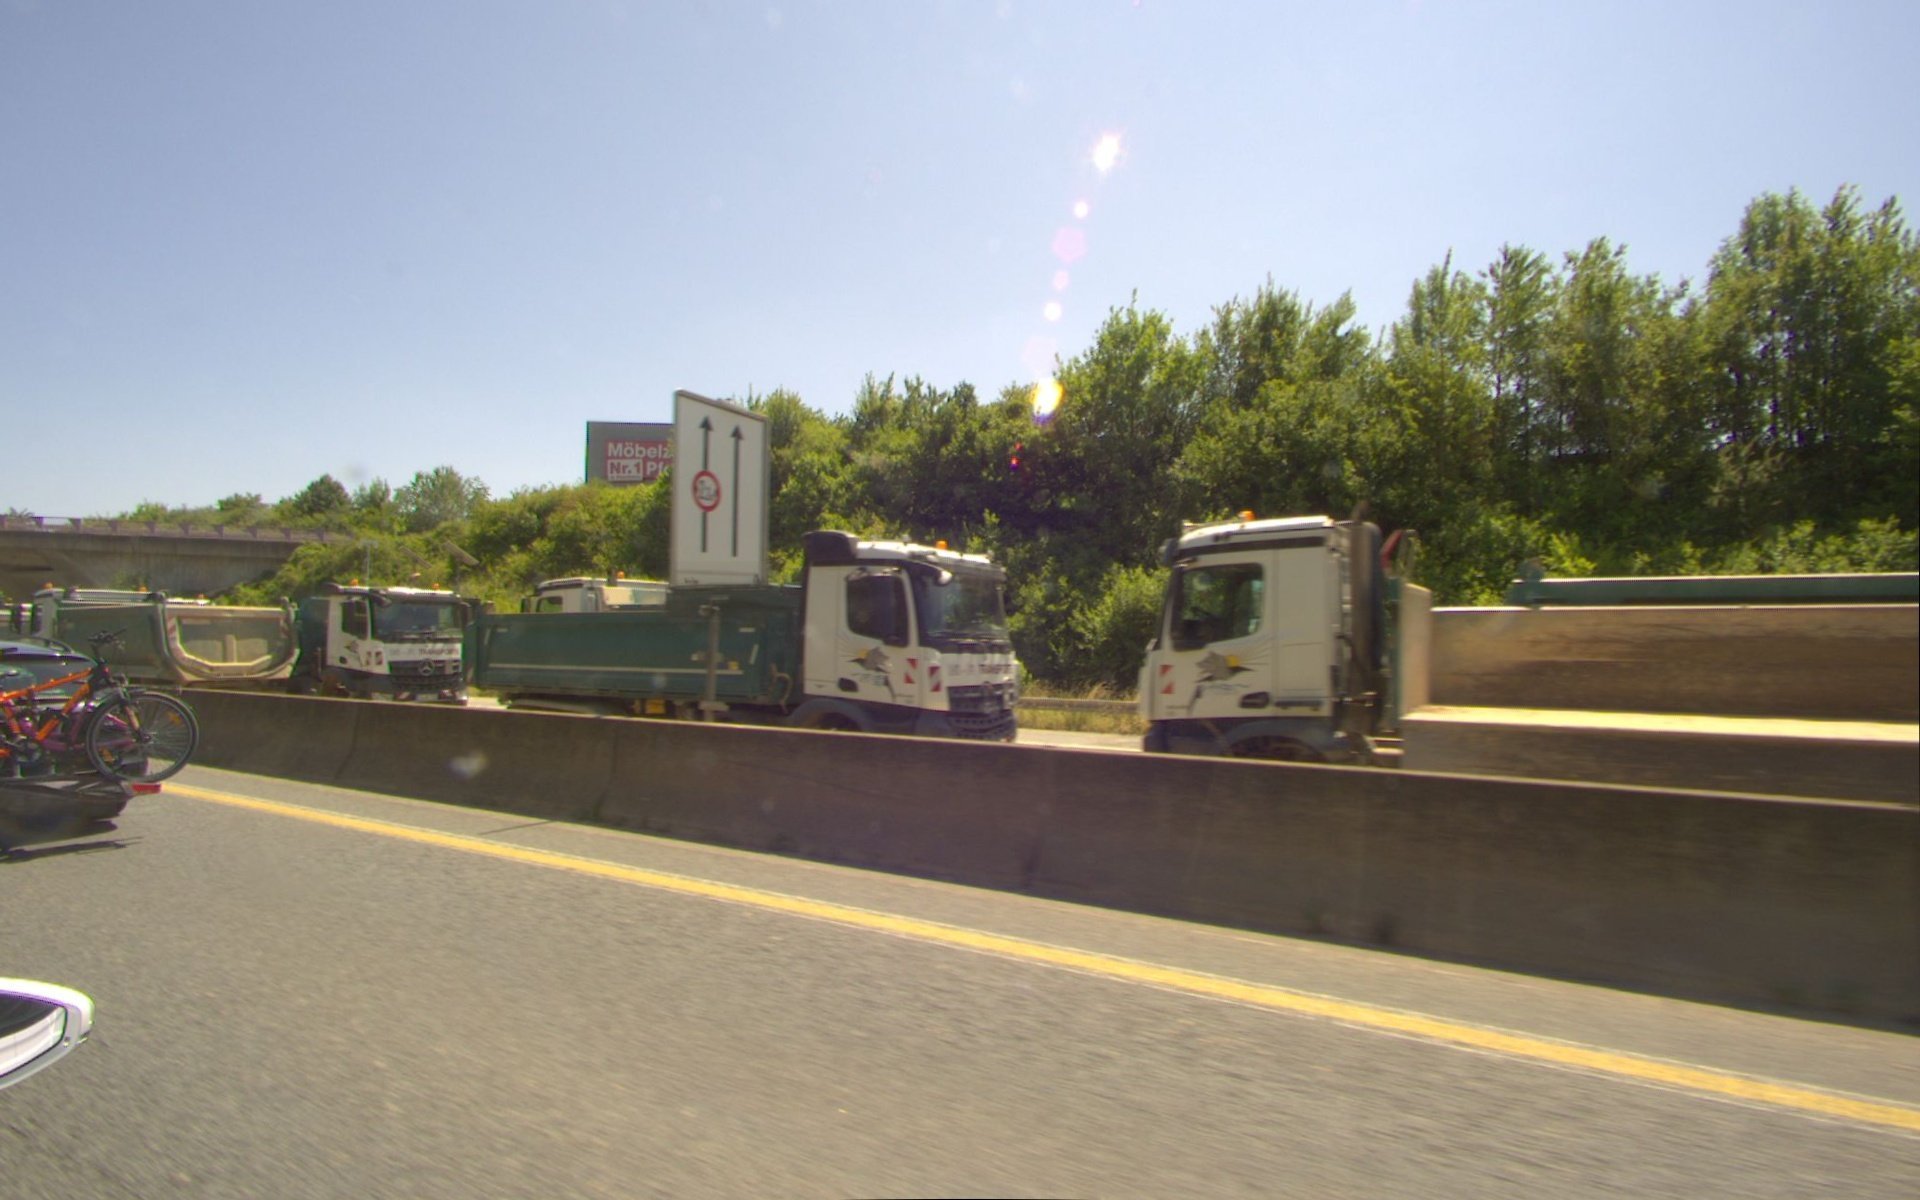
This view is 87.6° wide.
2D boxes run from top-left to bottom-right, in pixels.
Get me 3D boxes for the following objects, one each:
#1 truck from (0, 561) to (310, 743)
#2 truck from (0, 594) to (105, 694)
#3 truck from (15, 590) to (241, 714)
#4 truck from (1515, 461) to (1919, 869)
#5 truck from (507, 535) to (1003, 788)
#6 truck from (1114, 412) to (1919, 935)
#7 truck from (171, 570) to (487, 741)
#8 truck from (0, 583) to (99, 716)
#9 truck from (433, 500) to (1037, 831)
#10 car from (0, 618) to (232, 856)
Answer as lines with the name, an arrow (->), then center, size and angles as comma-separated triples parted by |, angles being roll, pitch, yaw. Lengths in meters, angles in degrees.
truck -> -19.101, 1.142, 23.506 | 9.464, 3.602, 2.683 | -1, -2, 32
truck -> -35.908, 1.603, 37.734 | 9.461, 3.420, 2.684 | -1, -2, 31
truck -> -26.214, 1.540, 31.366 | 9.466, 3.420, 2.683 | -1, -2, 33
truck -> 9.944, 0.599, 9.339 | 8.259, 3.555, 2.683 | -1, -2, 32
truck -> -4.001, 0.991, 17.933 | 9.464, 3.602, 2.683 | -1, -2, 32
truck -> 5.925, 0.560, 8.679 | 8.815, 3.555, 2.530 | -1, -2, 32
truck -> -15.751, 1.274, 24.668 | 9.463, 3.602, 2.683 | -1, -2, 32
truck -> -29.500, 1.440, 30.260 | 9.272, 3.602, 2.683 | -1, -2, 33
truck -> -3.675, 0.822, 14.492 | 9.463, 3.602, 2.535 | -1, -2, 32
car -> -7.971, 0.937, 7.946 | 4.877, 1.509, 1.896 | -1, -3, 33
